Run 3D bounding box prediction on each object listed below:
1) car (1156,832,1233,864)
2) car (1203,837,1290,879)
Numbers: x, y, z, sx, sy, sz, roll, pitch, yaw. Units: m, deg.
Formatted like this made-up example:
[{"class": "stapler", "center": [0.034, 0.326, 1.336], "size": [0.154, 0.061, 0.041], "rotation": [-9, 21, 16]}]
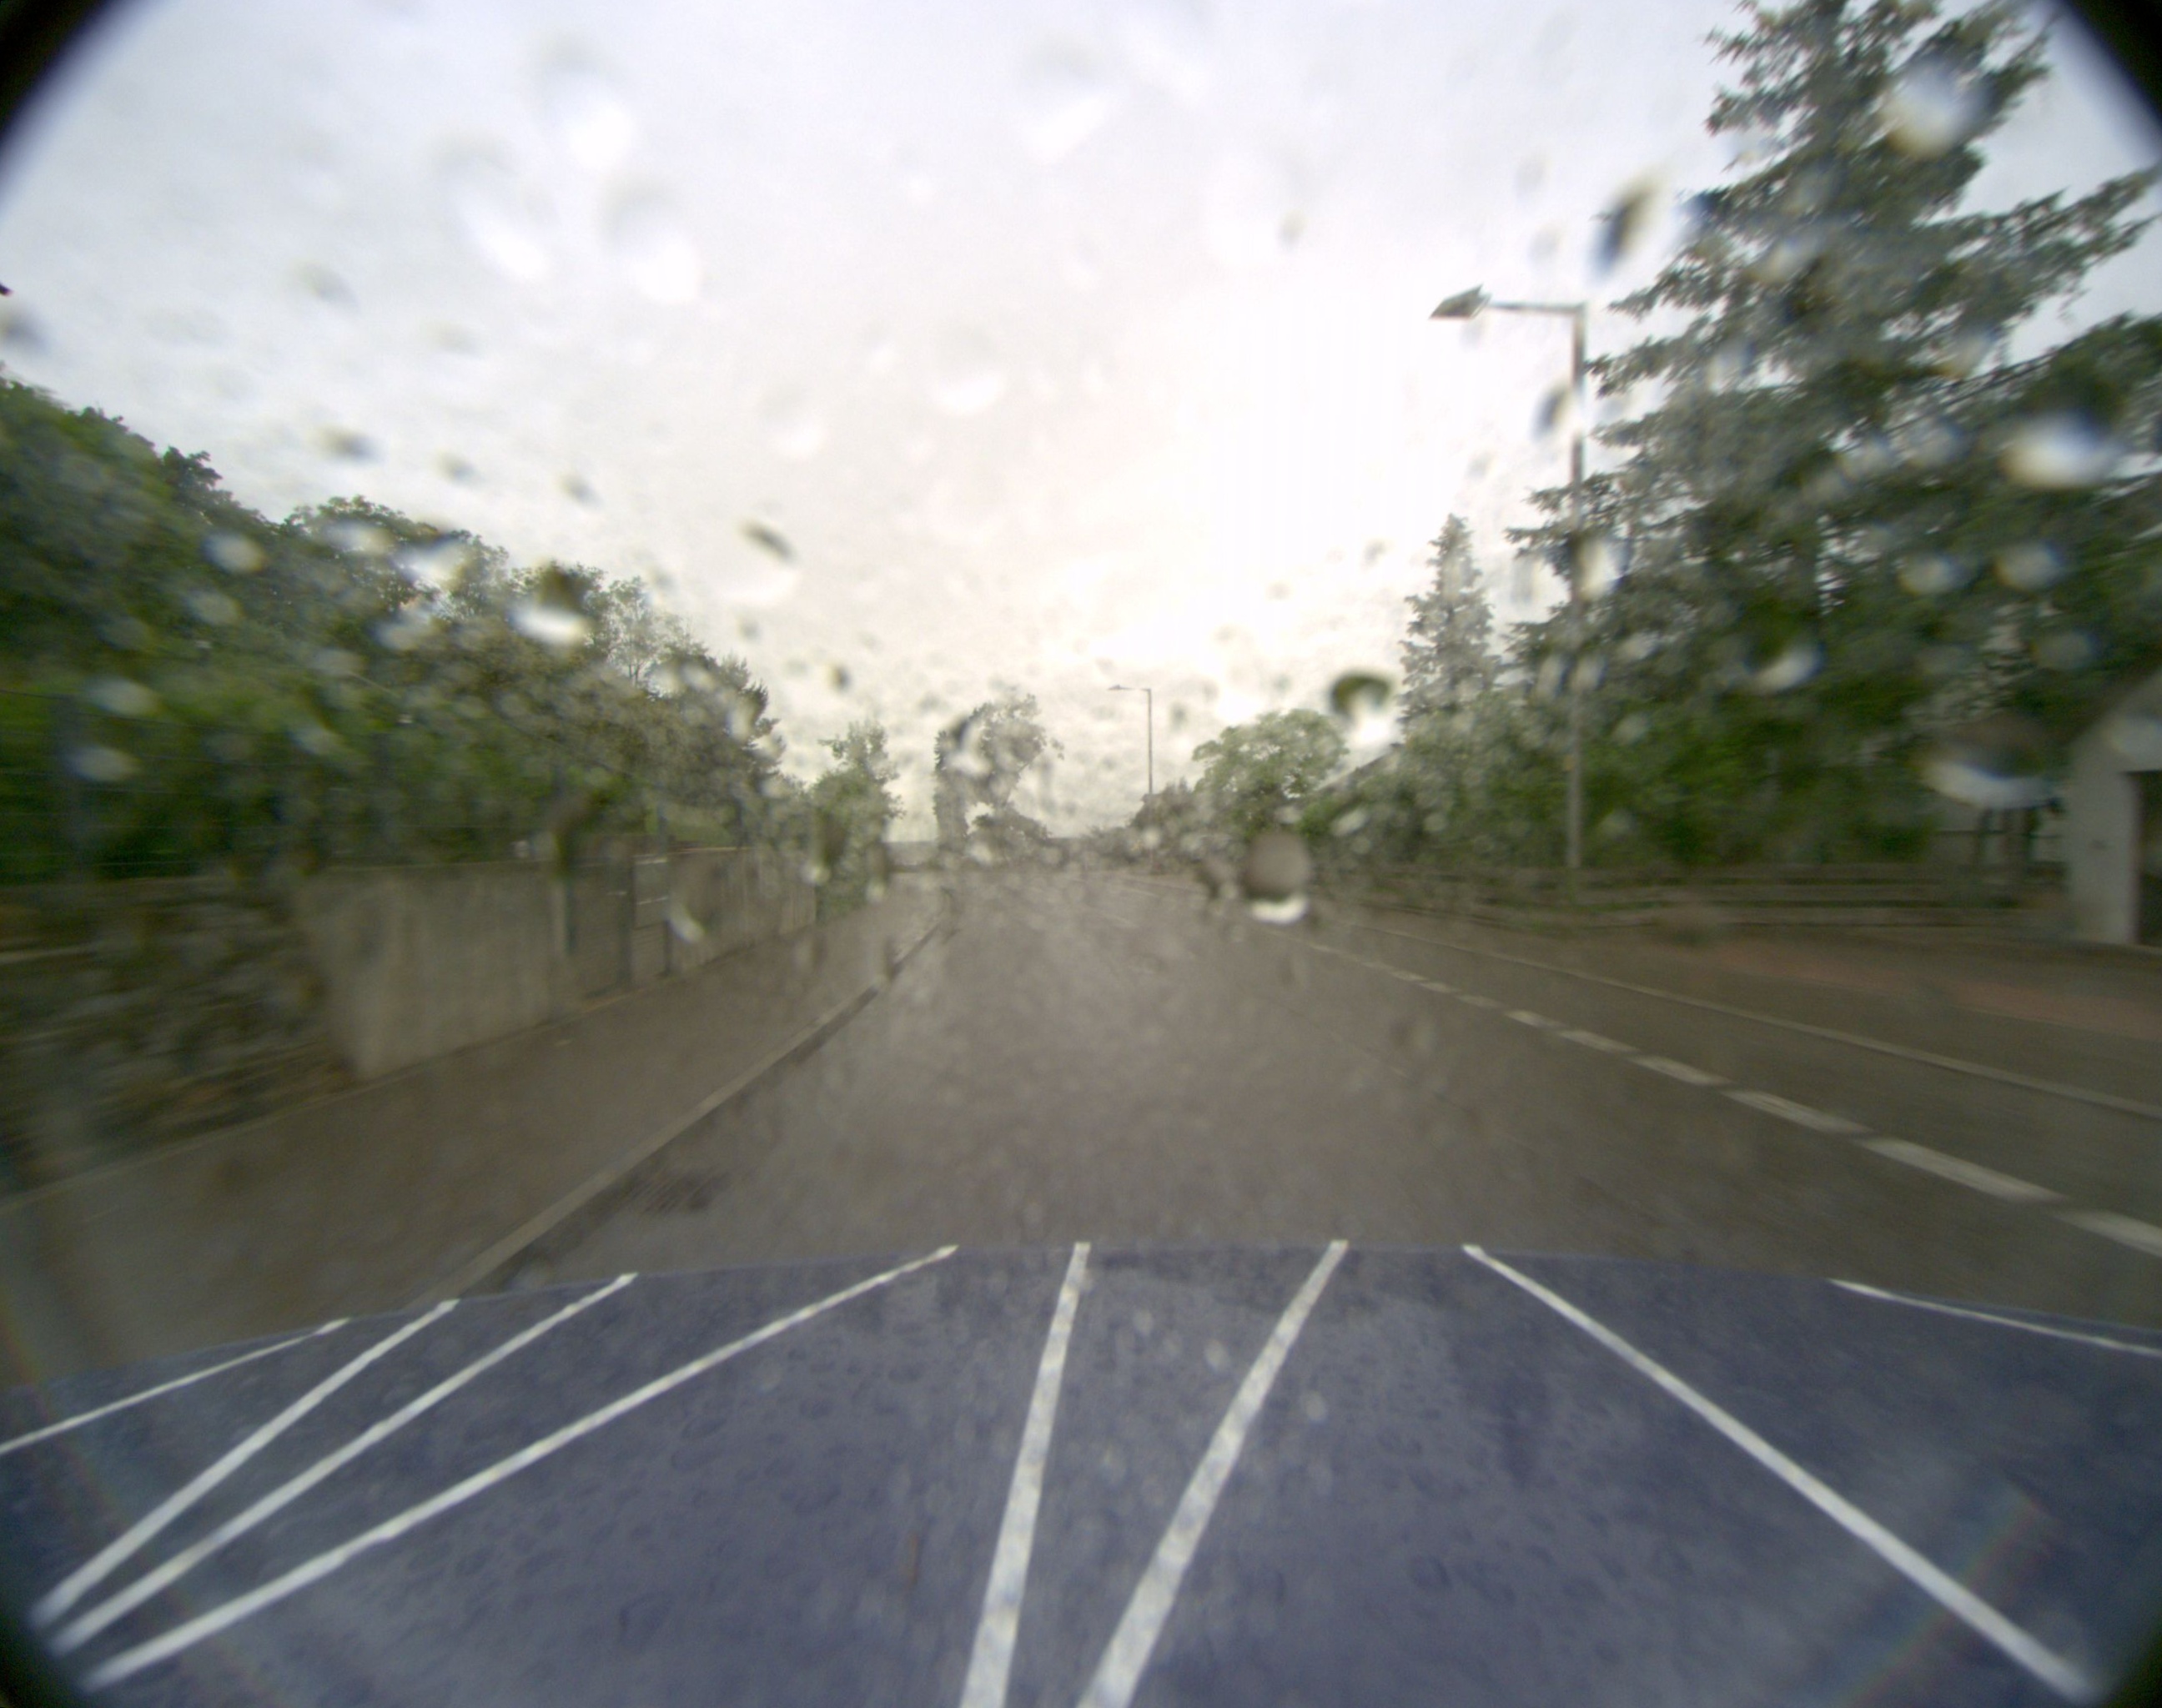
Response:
[{"class": "car", "center": [5.742, -0.309, 38.318], "size": [3.737, 1.472, 1.455], "rotation": [-1, 1, 10]}, {"class": "car", "center": [6.275, 0.156, 28.767], "size": [3.034, 1.471, 1.456], "rotation": [-1, 1, 20]}]
